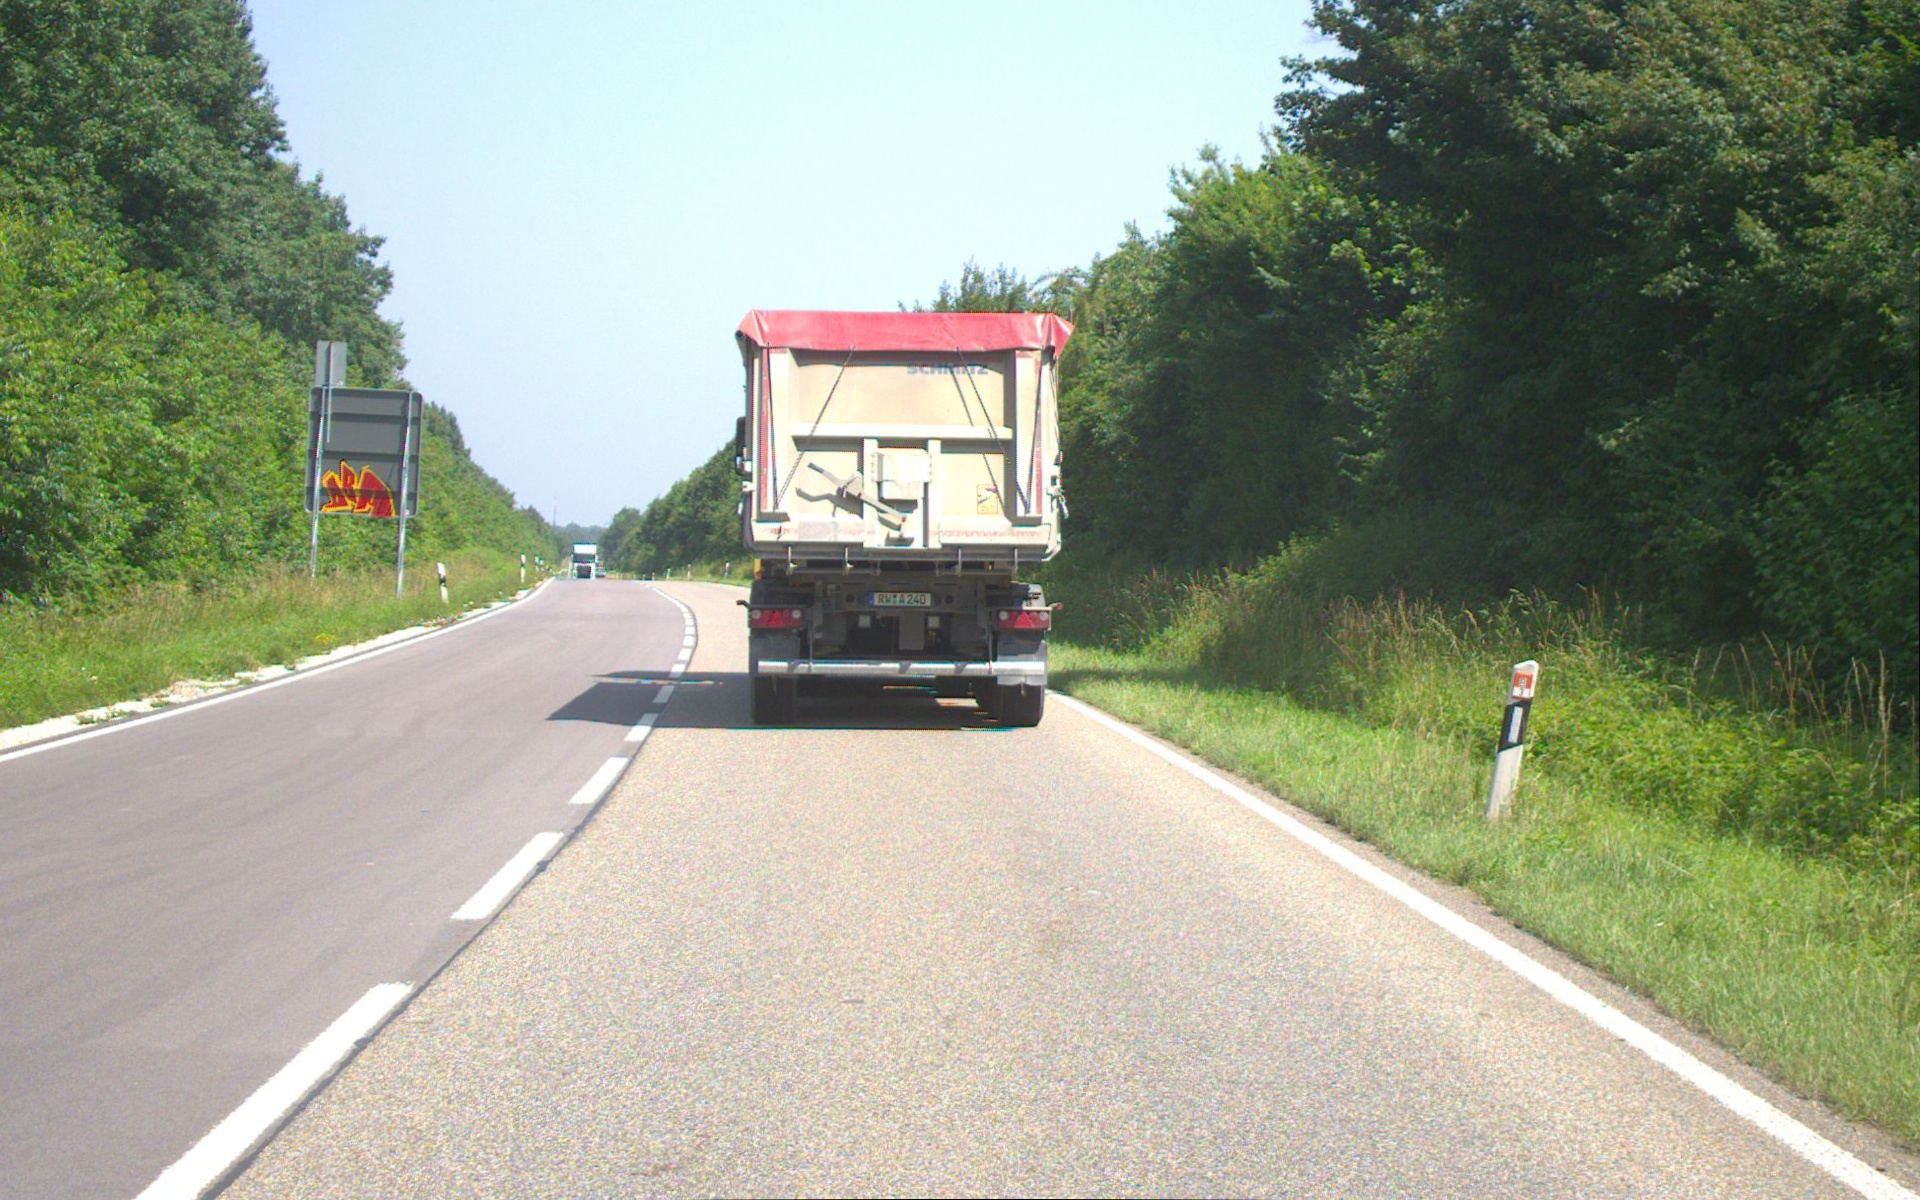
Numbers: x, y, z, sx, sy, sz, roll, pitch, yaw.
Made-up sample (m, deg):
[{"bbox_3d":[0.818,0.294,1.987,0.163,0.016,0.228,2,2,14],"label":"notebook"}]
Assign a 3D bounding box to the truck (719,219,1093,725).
[{"bbox_3d":[-0.820,-1.120,33.124,2.893,3.949,11.935,1,1,-4],"label":"truck"}]
